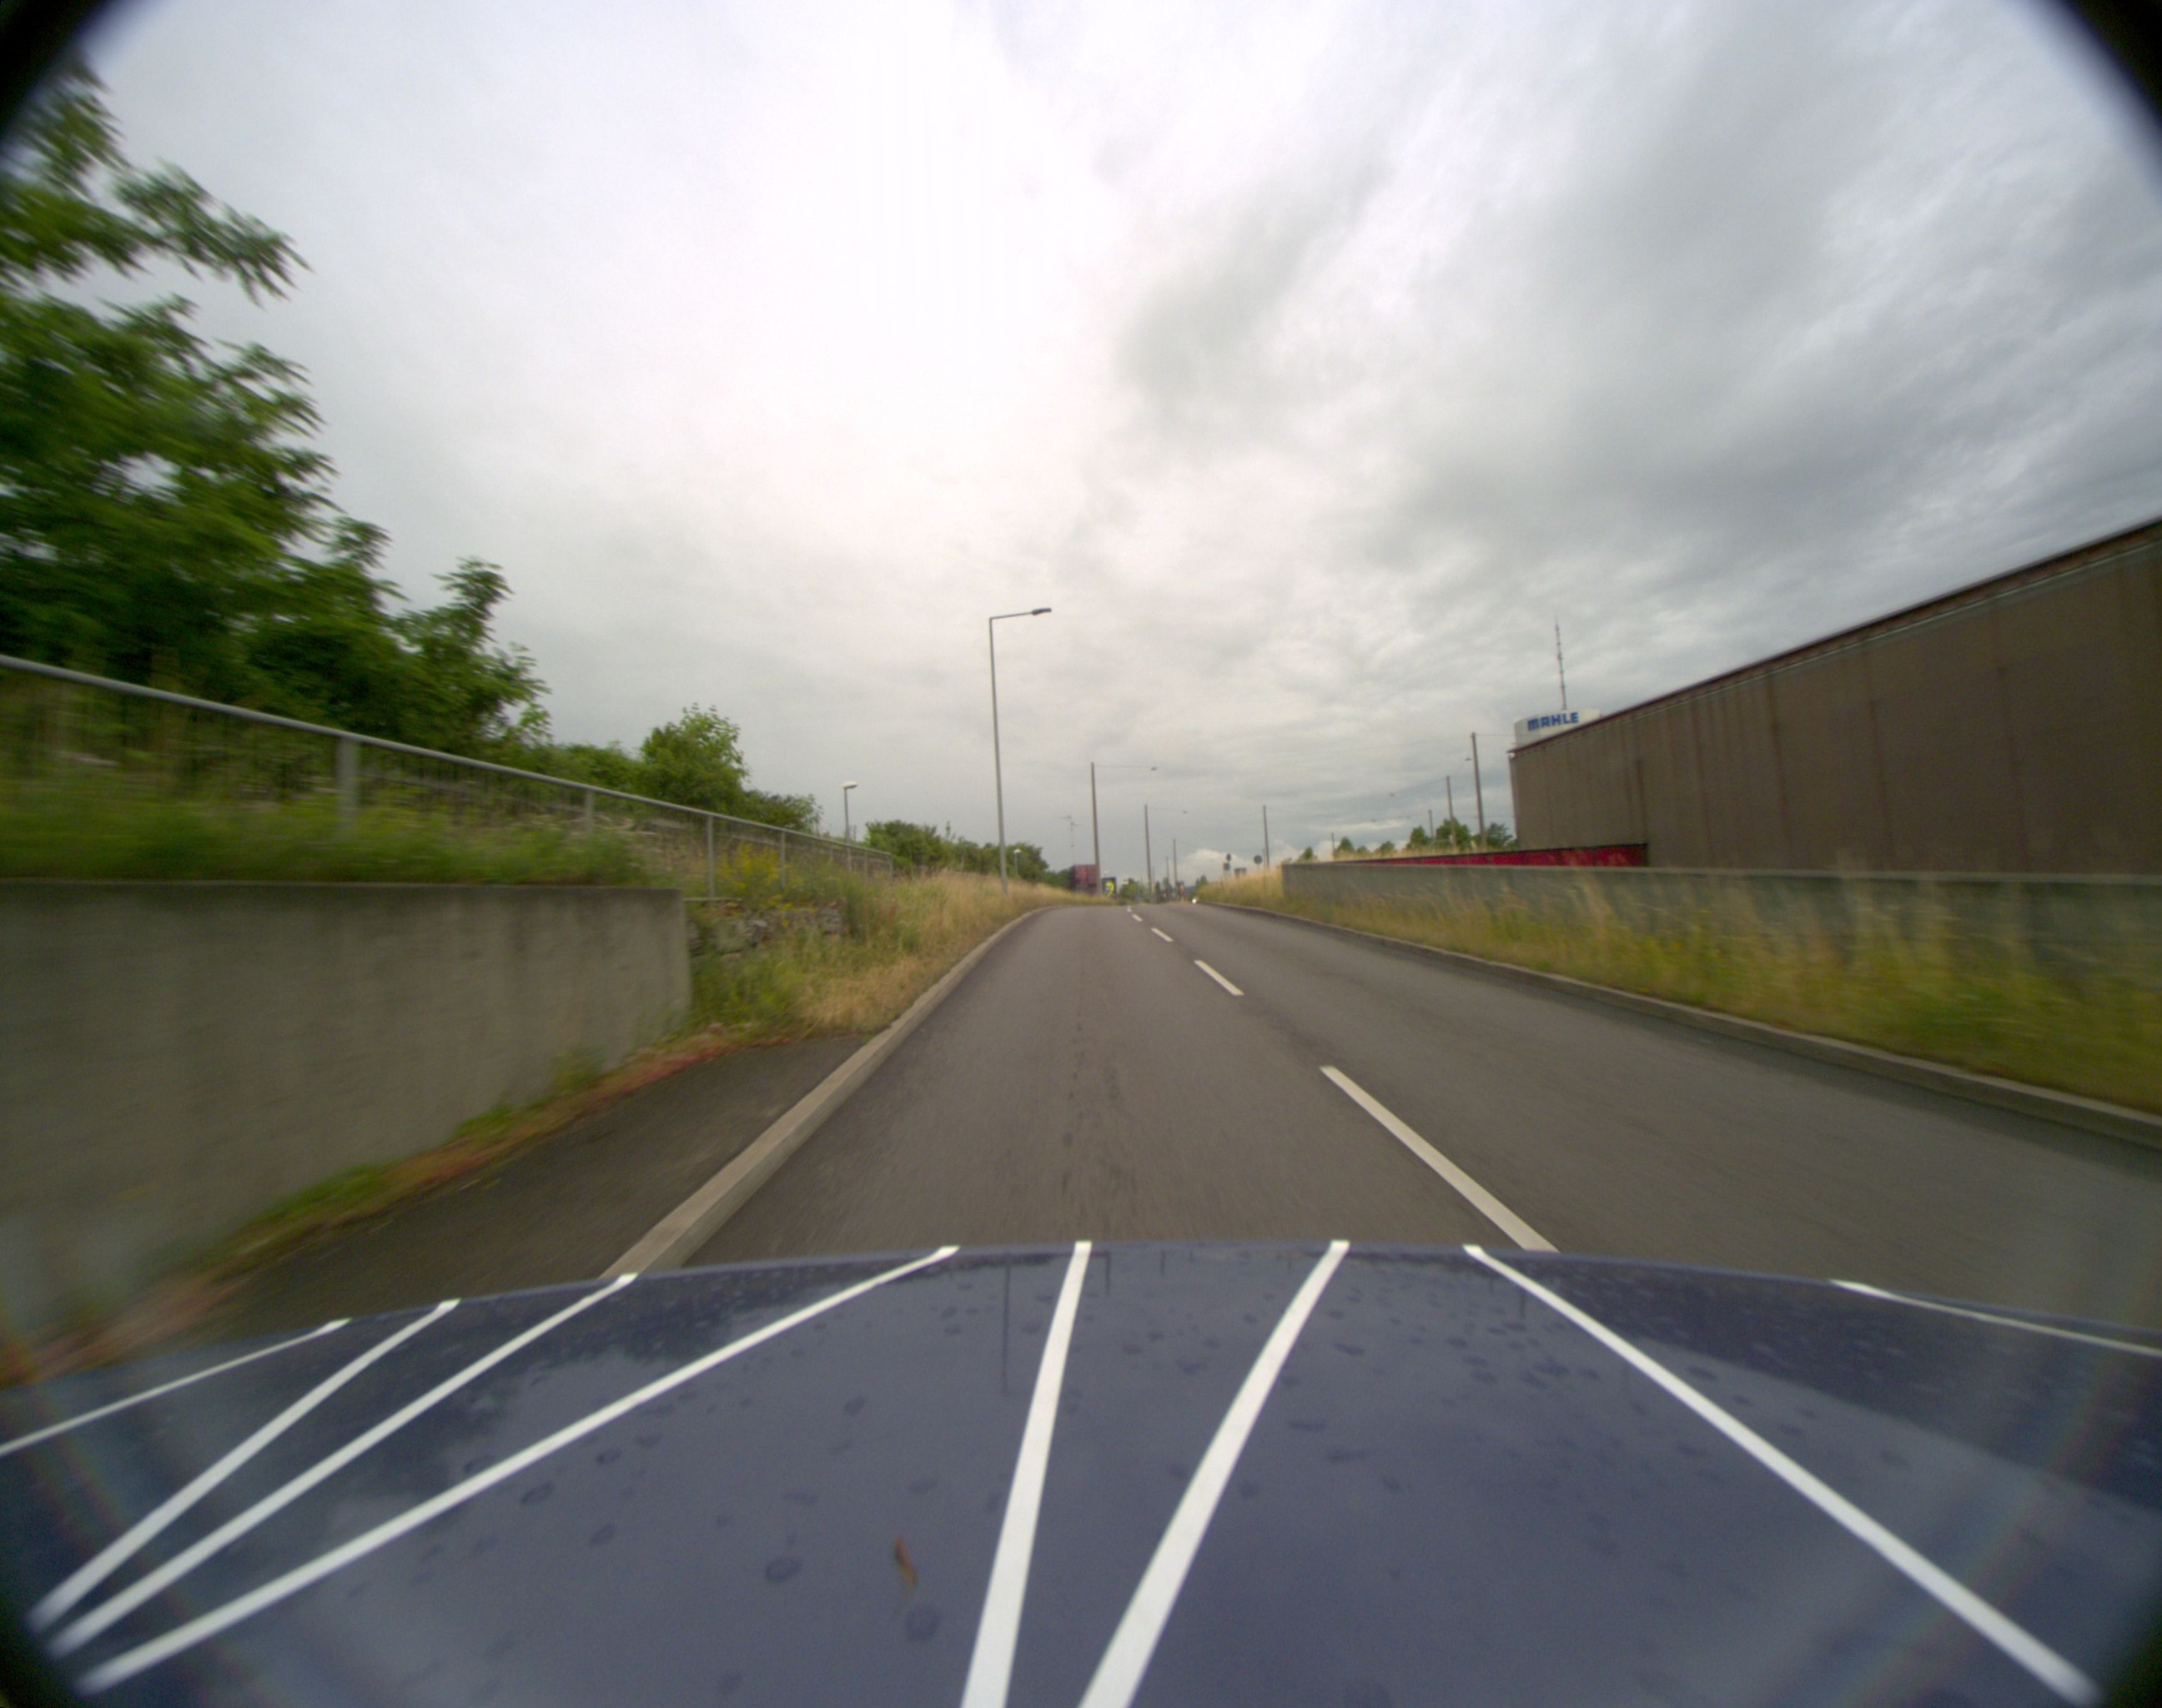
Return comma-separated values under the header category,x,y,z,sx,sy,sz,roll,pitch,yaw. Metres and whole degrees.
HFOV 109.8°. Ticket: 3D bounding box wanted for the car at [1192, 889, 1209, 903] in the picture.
category,x,y,z,sx,sy,sz,roll,pitch,yaw
car,18.844,6.630,120.258,1.998,2.000,4.003,-6,-4,1
